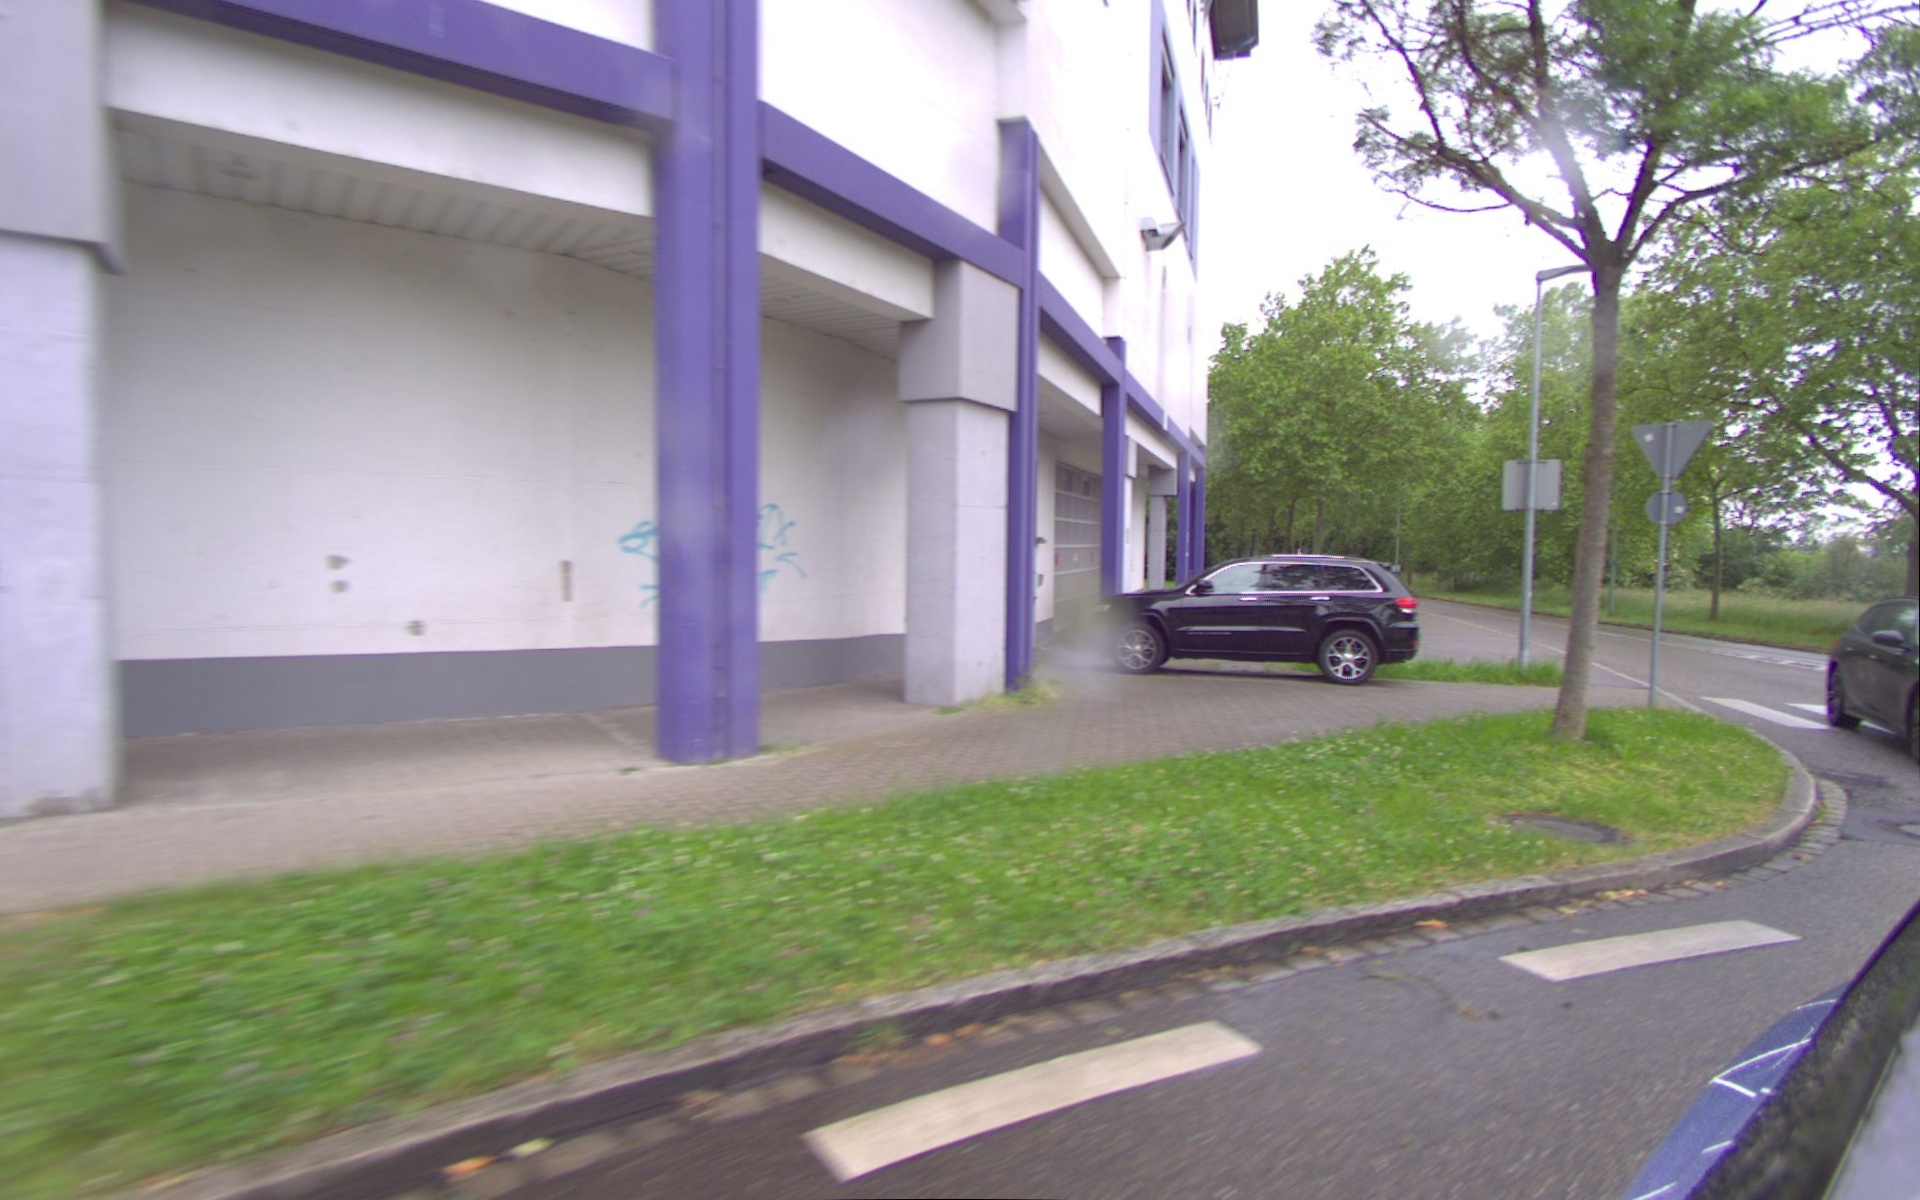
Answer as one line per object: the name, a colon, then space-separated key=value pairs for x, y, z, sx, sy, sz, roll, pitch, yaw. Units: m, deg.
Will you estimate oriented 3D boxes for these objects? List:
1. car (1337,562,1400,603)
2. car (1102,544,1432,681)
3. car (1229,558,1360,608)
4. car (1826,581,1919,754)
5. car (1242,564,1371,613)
car: x=18.387 y=-0.829 z=45.750 sx=1.779 sy=1.621 sz=4.359 roll=3 pitch=3 yaw=11
car: x=4.389 y=0.129 z=14.849 sx=4.332 sy=1.781 sz=1.819 roll=1 pitch=0 yaw=17
car: x=12.477 y=-0.657 z=38.019 sx=4.417 sy=1.701 sz=1.761 roll=2 pitch=2 yaw=13
car: x=10.117 y=0.600 z=9.815 sx=1.831 sy=1.513 sz=4.847 roll=2 pitch=2 yaw=32
car: x=12.066 y=-0.430 z=35.527 sx=4.057 sy=1.496 sz=1.716 roll=2 pitch=4 yaw=13
